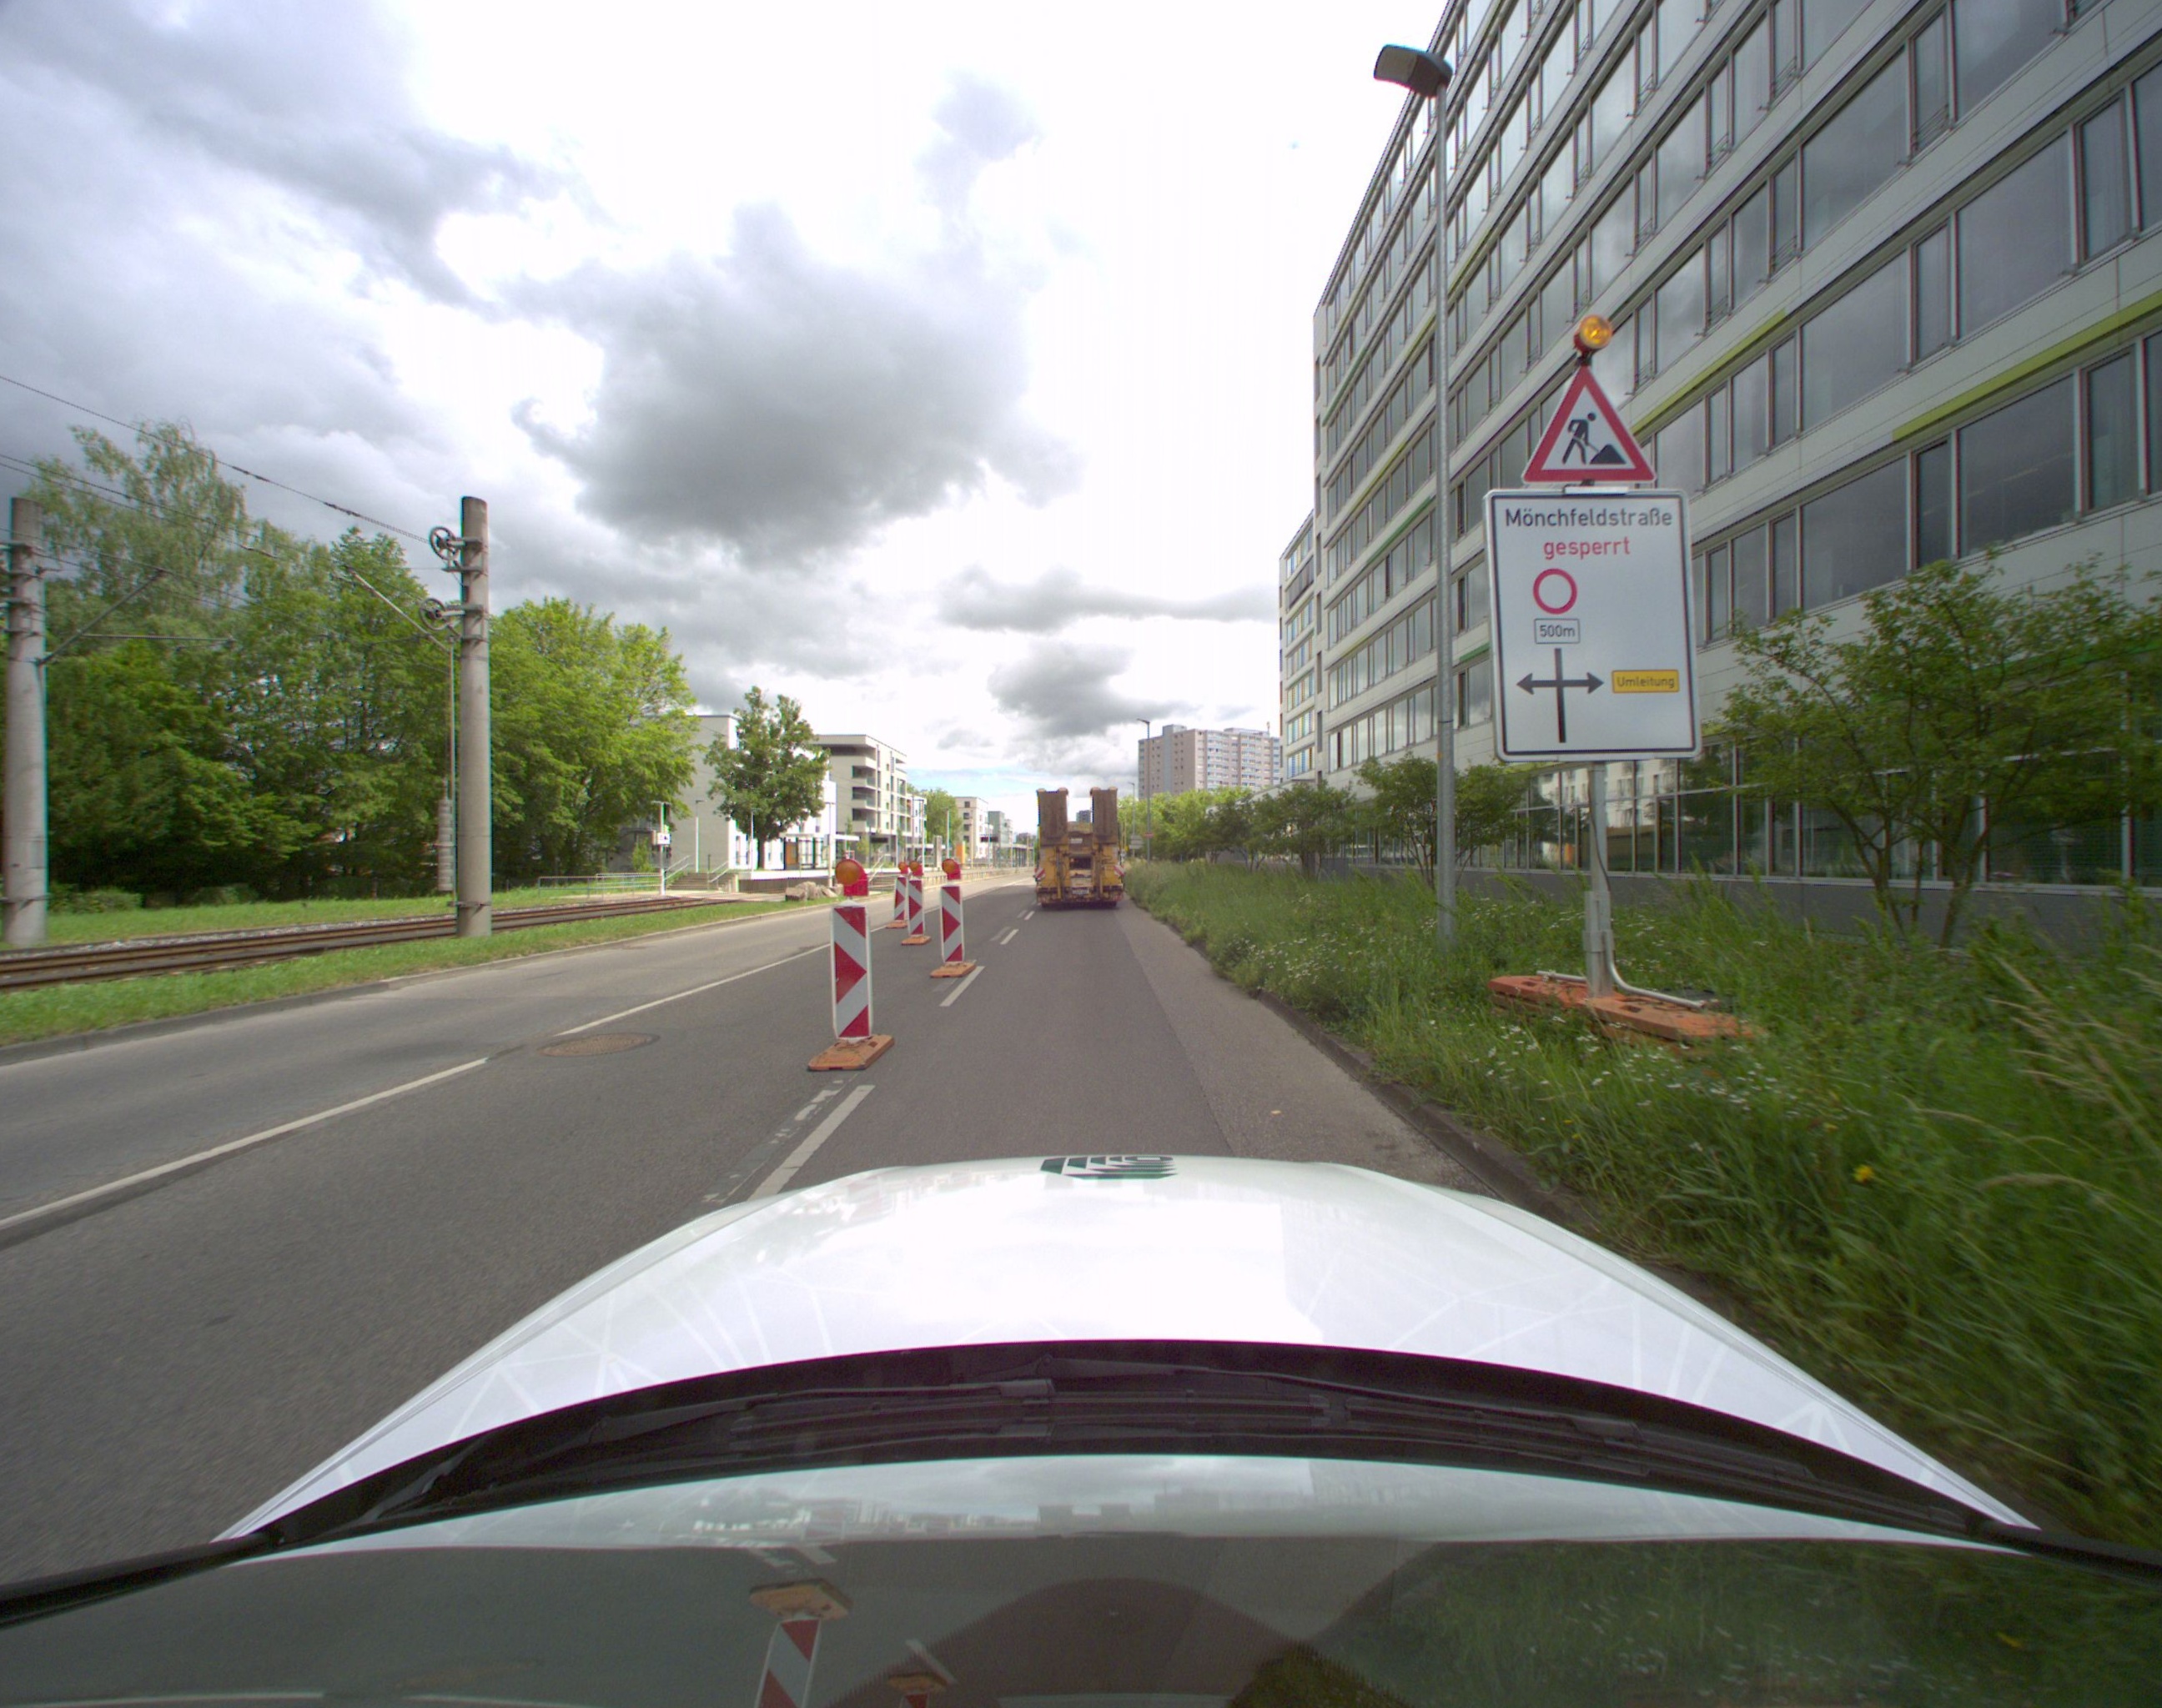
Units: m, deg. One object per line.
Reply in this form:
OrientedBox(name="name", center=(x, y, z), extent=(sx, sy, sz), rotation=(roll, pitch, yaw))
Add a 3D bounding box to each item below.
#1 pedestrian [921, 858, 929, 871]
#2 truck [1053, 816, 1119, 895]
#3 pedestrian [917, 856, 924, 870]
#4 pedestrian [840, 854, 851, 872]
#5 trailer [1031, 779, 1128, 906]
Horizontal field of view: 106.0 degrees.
OrientedBox(name="pedestrian", center=(-18.241, 1.223, 95.263), extent=(0.482, 1.597, 0.682), rotation=(-1, -1, 36))
OrientedBox(name="truck", center=(0.301, 0.124, 38.363), extent=(2.743, 3.313, 8.352), rotation=(0, -1, 1))
OrientedBox(name="pedestrian", center=(-18.509, 1.089, 94.079), extent=(0.483, 1.597, 0.682), rotation=(-1, -1, 44))
OrientedBox(name="pedestrian", center=(-19.632, 0.766, 67.864), extent=(0.738, 1.531, 0.547), rotation=(0, -1, 4))
OrientedBox(name="trailer", center=(0.076, -0.266, 28.565), extent=(2.719, 3.559, 11.255), rotation=(0, -1, 1))
